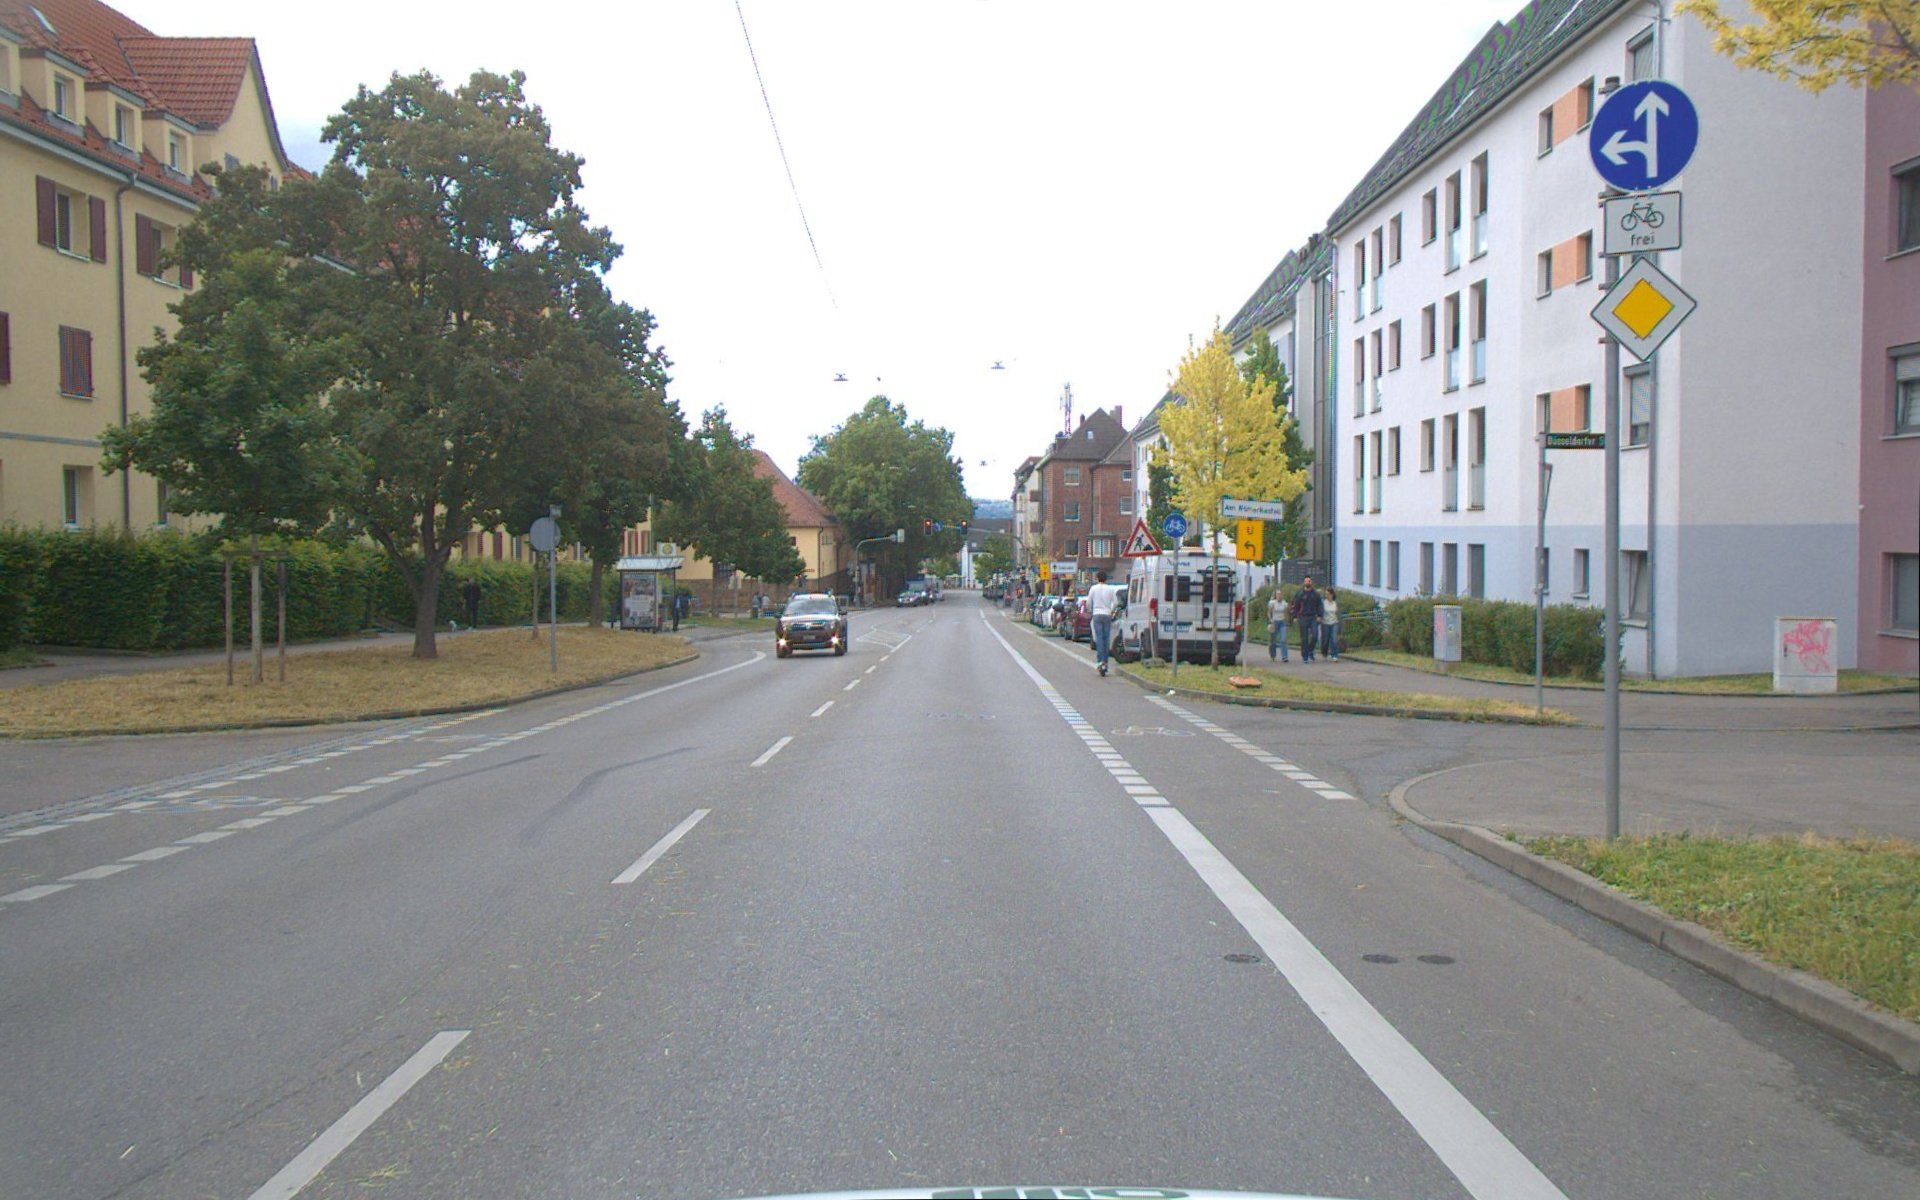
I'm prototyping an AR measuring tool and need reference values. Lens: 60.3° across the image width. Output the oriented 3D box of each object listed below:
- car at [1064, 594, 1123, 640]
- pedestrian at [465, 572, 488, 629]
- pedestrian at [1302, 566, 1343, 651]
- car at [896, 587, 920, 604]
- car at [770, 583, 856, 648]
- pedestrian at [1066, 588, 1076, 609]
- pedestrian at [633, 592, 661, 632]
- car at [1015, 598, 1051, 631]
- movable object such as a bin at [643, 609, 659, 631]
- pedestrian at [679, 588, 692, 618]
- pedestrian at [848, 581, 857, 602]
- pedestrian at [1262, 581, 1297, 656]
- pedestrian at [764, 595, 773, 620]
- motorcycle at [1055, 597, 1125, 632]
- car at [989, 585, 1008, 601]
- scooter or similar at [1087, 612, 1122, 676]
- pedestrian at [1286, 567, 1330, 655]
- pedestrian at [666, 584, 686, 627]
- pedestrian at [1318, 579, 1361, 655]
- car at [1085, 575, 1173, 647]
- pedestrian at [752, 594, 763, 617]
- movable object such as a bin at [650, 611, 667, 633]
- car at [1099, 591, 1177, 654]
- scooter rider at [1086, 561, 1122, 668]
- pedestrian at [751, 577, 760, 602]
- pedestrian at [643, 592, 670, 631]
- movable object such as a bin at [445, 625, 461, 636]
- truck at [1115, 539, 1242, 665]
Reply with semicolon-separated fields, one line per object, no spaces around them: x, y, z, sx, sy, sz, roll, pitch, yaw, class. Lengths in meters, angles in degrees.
4.730;0.572;59.096;1.646;1.571;4.338;0;0;-1;car
-15.393;0.007;52.648;0.503;1.811;0.753;0;0;0;pedestrian
8.292;0.194;37.836;0.659;1.920;0.617;0;-1;-17;pedestrian
-4.560;-0.397;146.002;1.719;1.498;4.308;-1;0;3;car
-3.881;0.397;44.408;1.860;1.648;4.362;0;0;1;car
9.203;-0.117;137.373;0.772;1.685;0.772;-2;0;0;pedestrian
-12.173;0.465;64.342;0.881;1.499;0.806;1;0;0;pedestrian
3.988;0.761;90.933;1.625;1.746;4.550;1;0;-1;car
-12.025;0.768;64.356;0.454;0.840;0.665;1;0;1;movable object such as a bin
-15.610;0.167;94.078;0.627;1.647;0.618;0;0;-1;pedestrian
-9.353;-0.709;143.515;0.660;1.796;0.726;0;0;5;pedestrian
7.228;0.421;37.450;0.566;1.673;0.559;0;-1;-14;pedestrian
-14.047;0.539;121.171;0.552;1.808;0.717;0;0;0;pedestrian
4.893;0.555;62.214;2.546;1.301;0.752;0;0;-4;motorcycle
4.762;-0.868;204.316;1.953;1.969;4.916;0;0;-3;car
2.810;0.833;32.334;0.480;1.183;2.074;0;0;-1;scooter or similar
7.687;0.248;36.555;0.658;1.920;0.764;0;-1;-12;pedestrian
-11.697;0.228;68.135;0.585;1.757;0.861;1;0;3;pedestrian
8.428;0.379;36.735;0.645;1.633;0.574;-4;0;-9;pedestrian
4.822;0.294;47.775;1.953;1.978;5.210;0;0;-1;car
-14.137;0.367;115.434;0.552;1.594;0.843;0;0;5;pedestrian
-11.985;0.879;65.766;0.525;0.860;0.665;1;0;1;movable object such as a bin
4.525;0.541;42.405;1.494;1.511;3.725;1;0;-1;car
2.813;0.279;32.306;0.612;2.049;0.757;0;0;-1;scooter rider
-14.984;-0.740;121.152;0.552;1.808;0.842;0;0;0;pedestrian
-12.121;0.441;65.998;0.881;1.536;0.806;1;0;0;pedestrian
-16.221;0.976;52.929;0.300;0.353;0.581;0;0;5;movable object such as a bin
4.830;0.029;37.350;2.011;2.610;5.688;0;0;-1;truck
